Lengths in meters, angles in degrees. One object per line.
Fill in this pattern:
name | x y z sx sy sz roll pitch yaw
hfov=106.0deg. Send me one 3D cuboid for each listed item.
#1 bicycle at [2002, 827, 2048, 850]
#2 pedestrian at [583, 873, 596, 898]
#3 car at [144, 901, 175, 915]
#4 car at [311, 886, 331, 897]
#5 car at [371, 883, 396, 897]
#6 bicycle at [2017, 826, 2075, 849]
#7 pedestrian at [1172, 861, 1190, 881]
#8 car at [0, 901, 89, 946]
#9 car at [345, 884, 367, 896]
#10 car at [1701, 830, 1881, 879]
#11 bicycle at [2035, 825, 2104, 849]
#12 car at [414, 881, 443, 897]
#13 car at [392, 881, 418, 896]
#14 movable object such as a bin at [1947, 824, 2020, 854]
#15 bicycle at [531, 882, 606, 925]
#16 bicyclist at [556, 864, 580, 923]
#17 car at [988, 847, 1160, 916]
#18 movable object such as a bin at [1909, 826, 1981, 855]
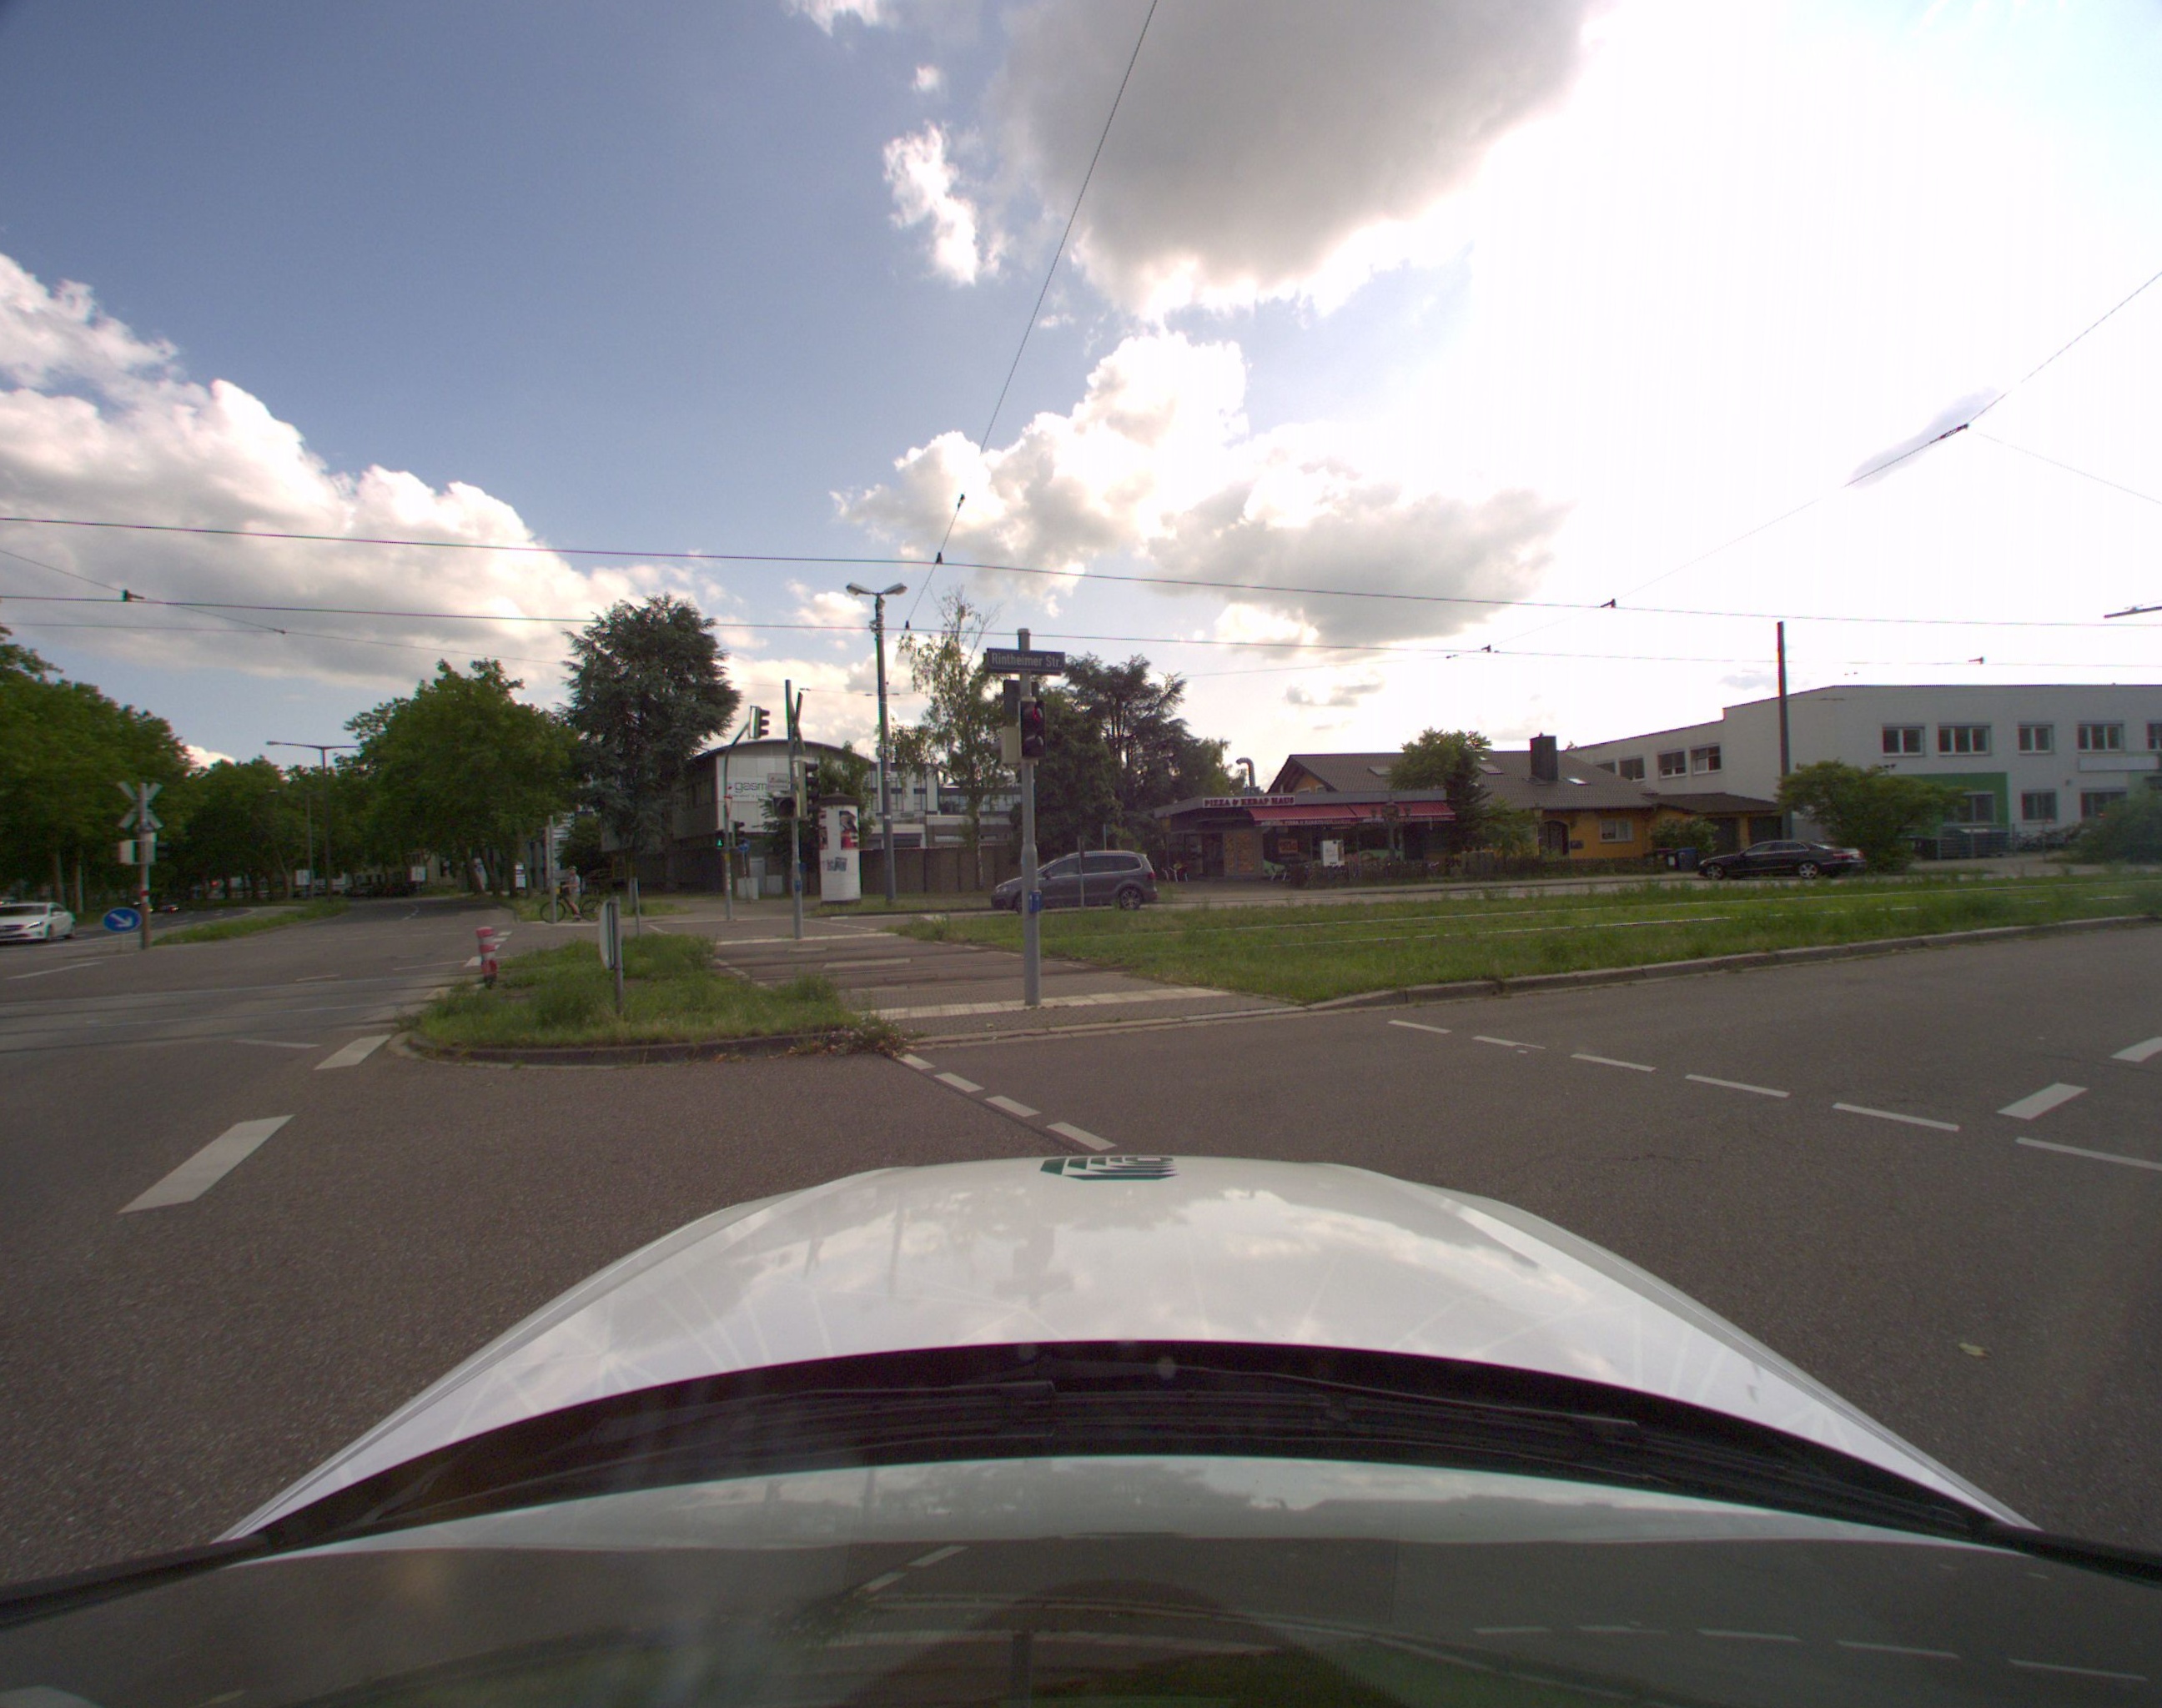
bicycle | 50.452 -0.801 43.553 0.699 1.166 1.625 -2 0 8
pedestrian | -31.429 2.016 52.101 0.625 1.569 0.553 -2 1 -36
car | -88.364 5.132 78.094 3.660 1.192 1.650 -2 -1 37
car | -121.650 5.962 130.354 3.950 1.574 2.012 0 2 43
car | -90.620 4.703 105.741 3.950 1.574 2.012 0 2 43
bicycle | 49.692 -0.840 41.954 0.734 1.081 1.791 -2 0 -10
pedestrian | 4.812 0.808 39.206 0.723 0.929 0.776 -1 1 -3
car | -37.591 2.458 29.079 1.840 1.364 4.091 -2 -1 -37
car | -109.826 5.502 123.389 3.950 1.574 2.012 0 2 43
car | 26.045 0.052 30.071 2.005 1.580 4.537 -2 -1 -28
bicycle | 52.898 -0.882 43.630 0.756 1.166 2.349 -2 0 -2
car | -74.779 4.025 93.367 3.950 1.574 2.012 0 2 43
car | -83.791 4.278 100.927 3.950 1.574 2.012 0 2 43
movable object such as a bin | 44.086 -0.731 39.820 2.121 1.326 1.374 -2 -1 -5
bicycle | -16.404 1.566 26.099 1.956 1.235 0.536 -2 1 -27
bicyclist | -16.424 1.256 26.071 0.546 1.809 0.536 -2 1 -26
car | -0.270 0.751 23.564 4.722 1.722 1.995 -2 -1 -8
movable object such as a bin | 41.923 -0.653 39.550 2.107 1.326 1.374 -2 -1 -5
